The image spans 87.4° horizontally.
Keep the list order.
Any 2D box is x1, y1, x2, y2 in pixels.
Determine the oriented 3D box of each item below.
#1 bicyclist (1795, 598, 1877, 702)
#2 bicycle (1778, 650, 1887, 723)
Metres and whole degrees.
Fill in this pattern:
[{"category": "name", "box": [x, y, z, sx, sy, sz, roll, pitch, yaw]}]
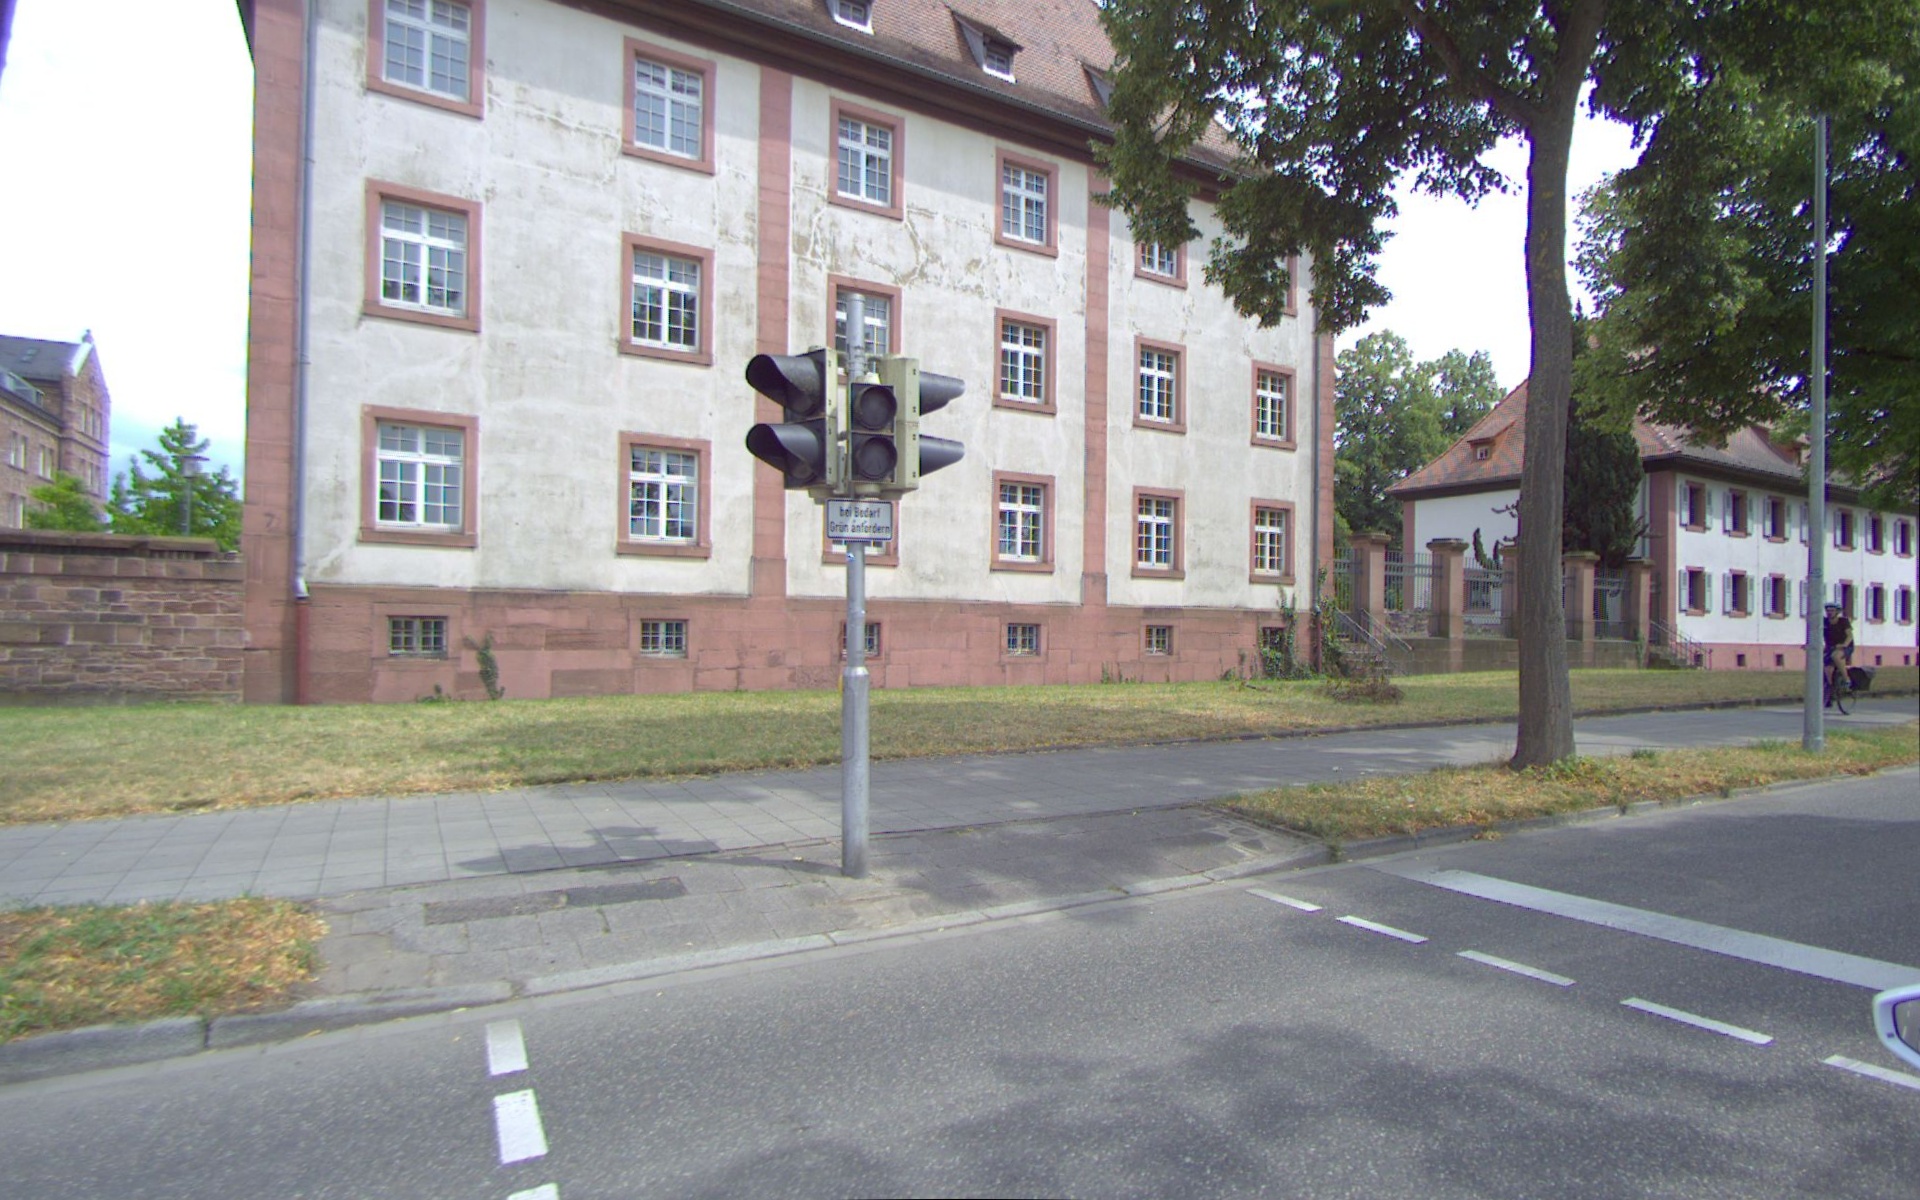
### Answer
[{"category": "bicyclist", "box": [14.956, 0.838, 17.153, 0.947, 1.678, 0.719, 1, 2, -30]}, {"category": "bicycle", "box": [14.907, 1.446, 17.153, 2.126, 1.110, 0.719, 1, 2, -31]}]
